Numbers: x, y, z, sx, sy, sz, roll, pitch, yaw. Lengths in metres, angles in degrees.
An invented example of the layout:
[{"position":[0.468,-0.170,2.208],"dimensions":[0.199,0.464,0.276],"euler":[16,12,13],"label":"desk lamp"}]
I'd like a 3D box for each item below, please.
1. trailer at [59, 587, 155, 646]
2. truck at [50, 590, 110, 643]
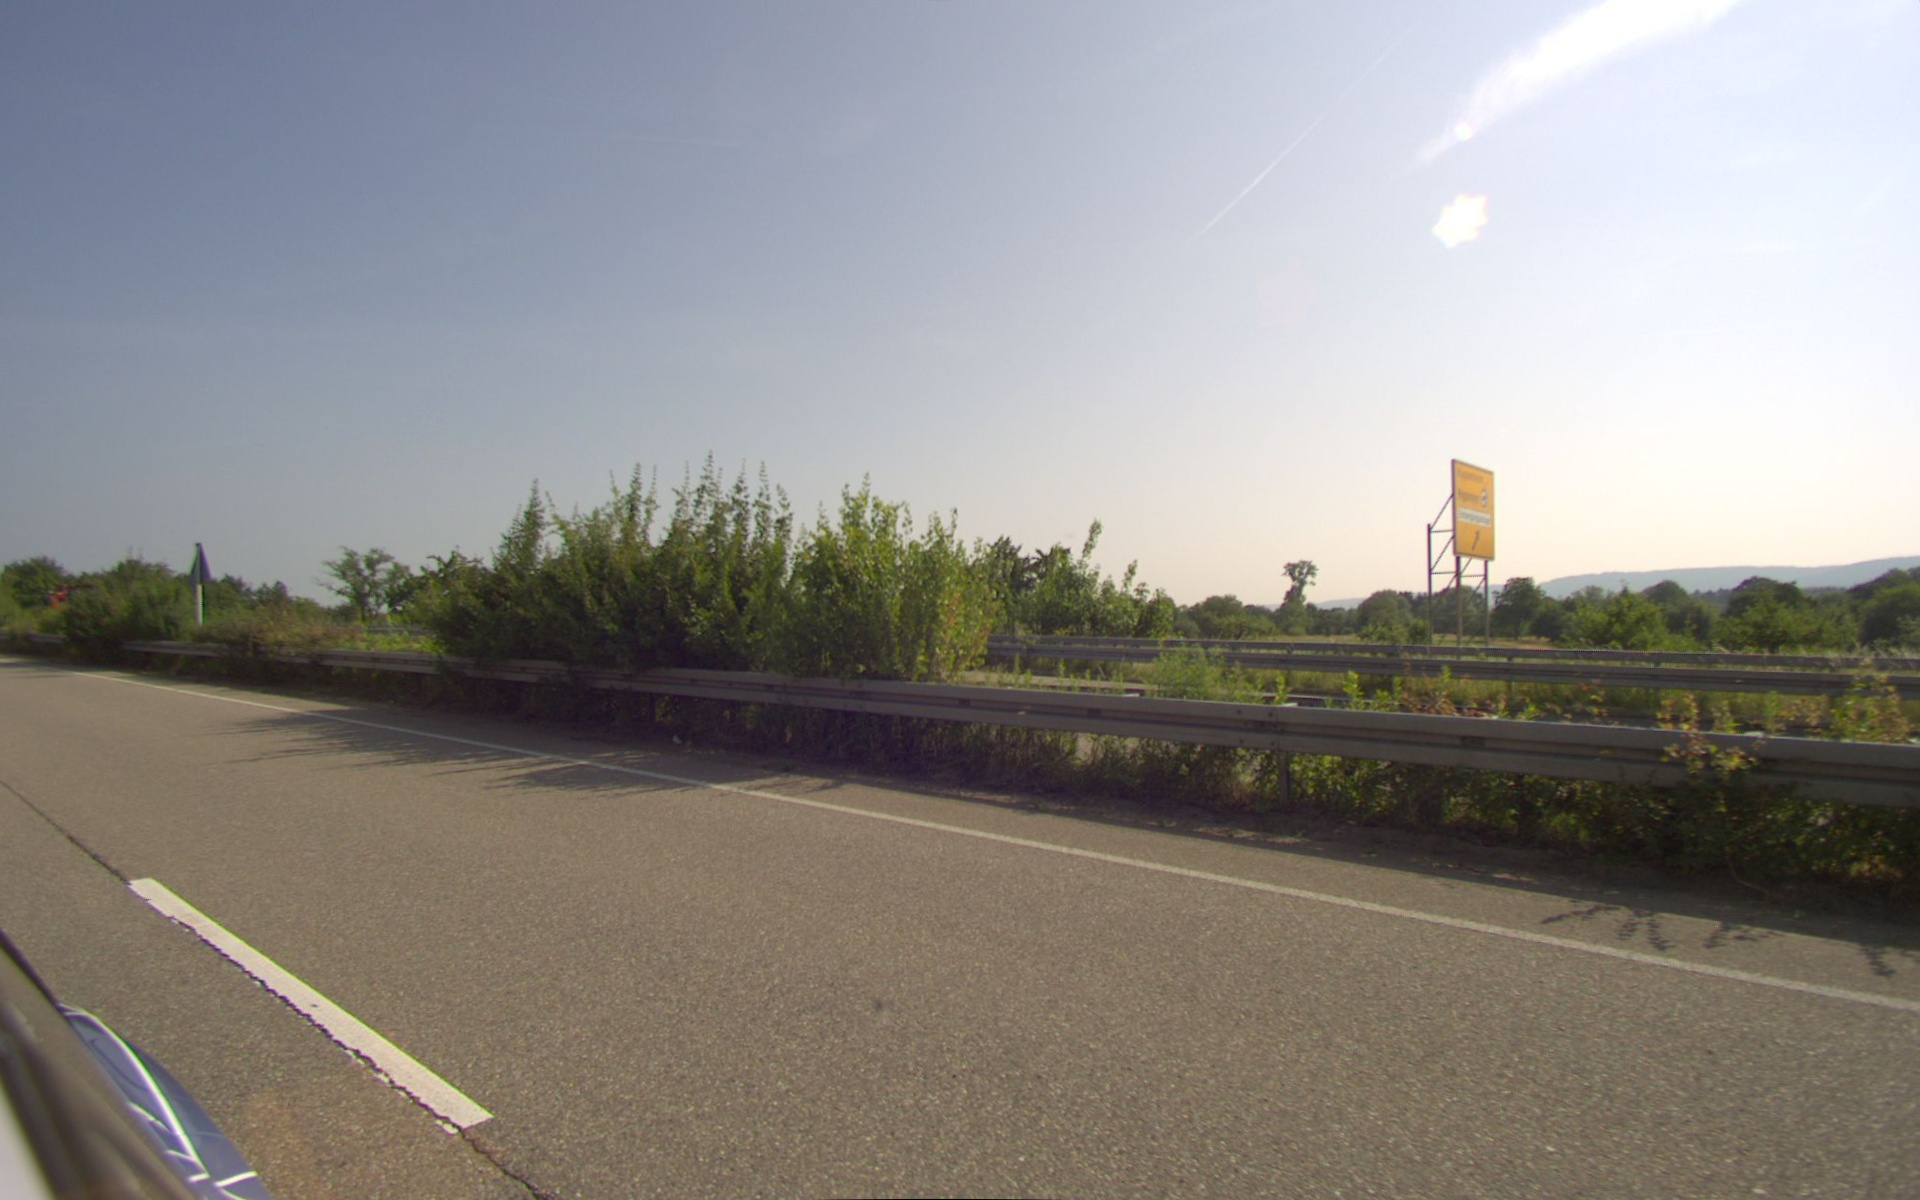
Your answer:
[{"position":[-53.340,1.020,63.082],"dimensions":[13.408,3.401,1.974],"euler":[-1,-1,38],"label":"trailer"},{"position":[-58.294,1.106,67.007],"dimensions":[5.621,3.401,1.974],"euler":[-1,-1,38],"label":"truck"}]
